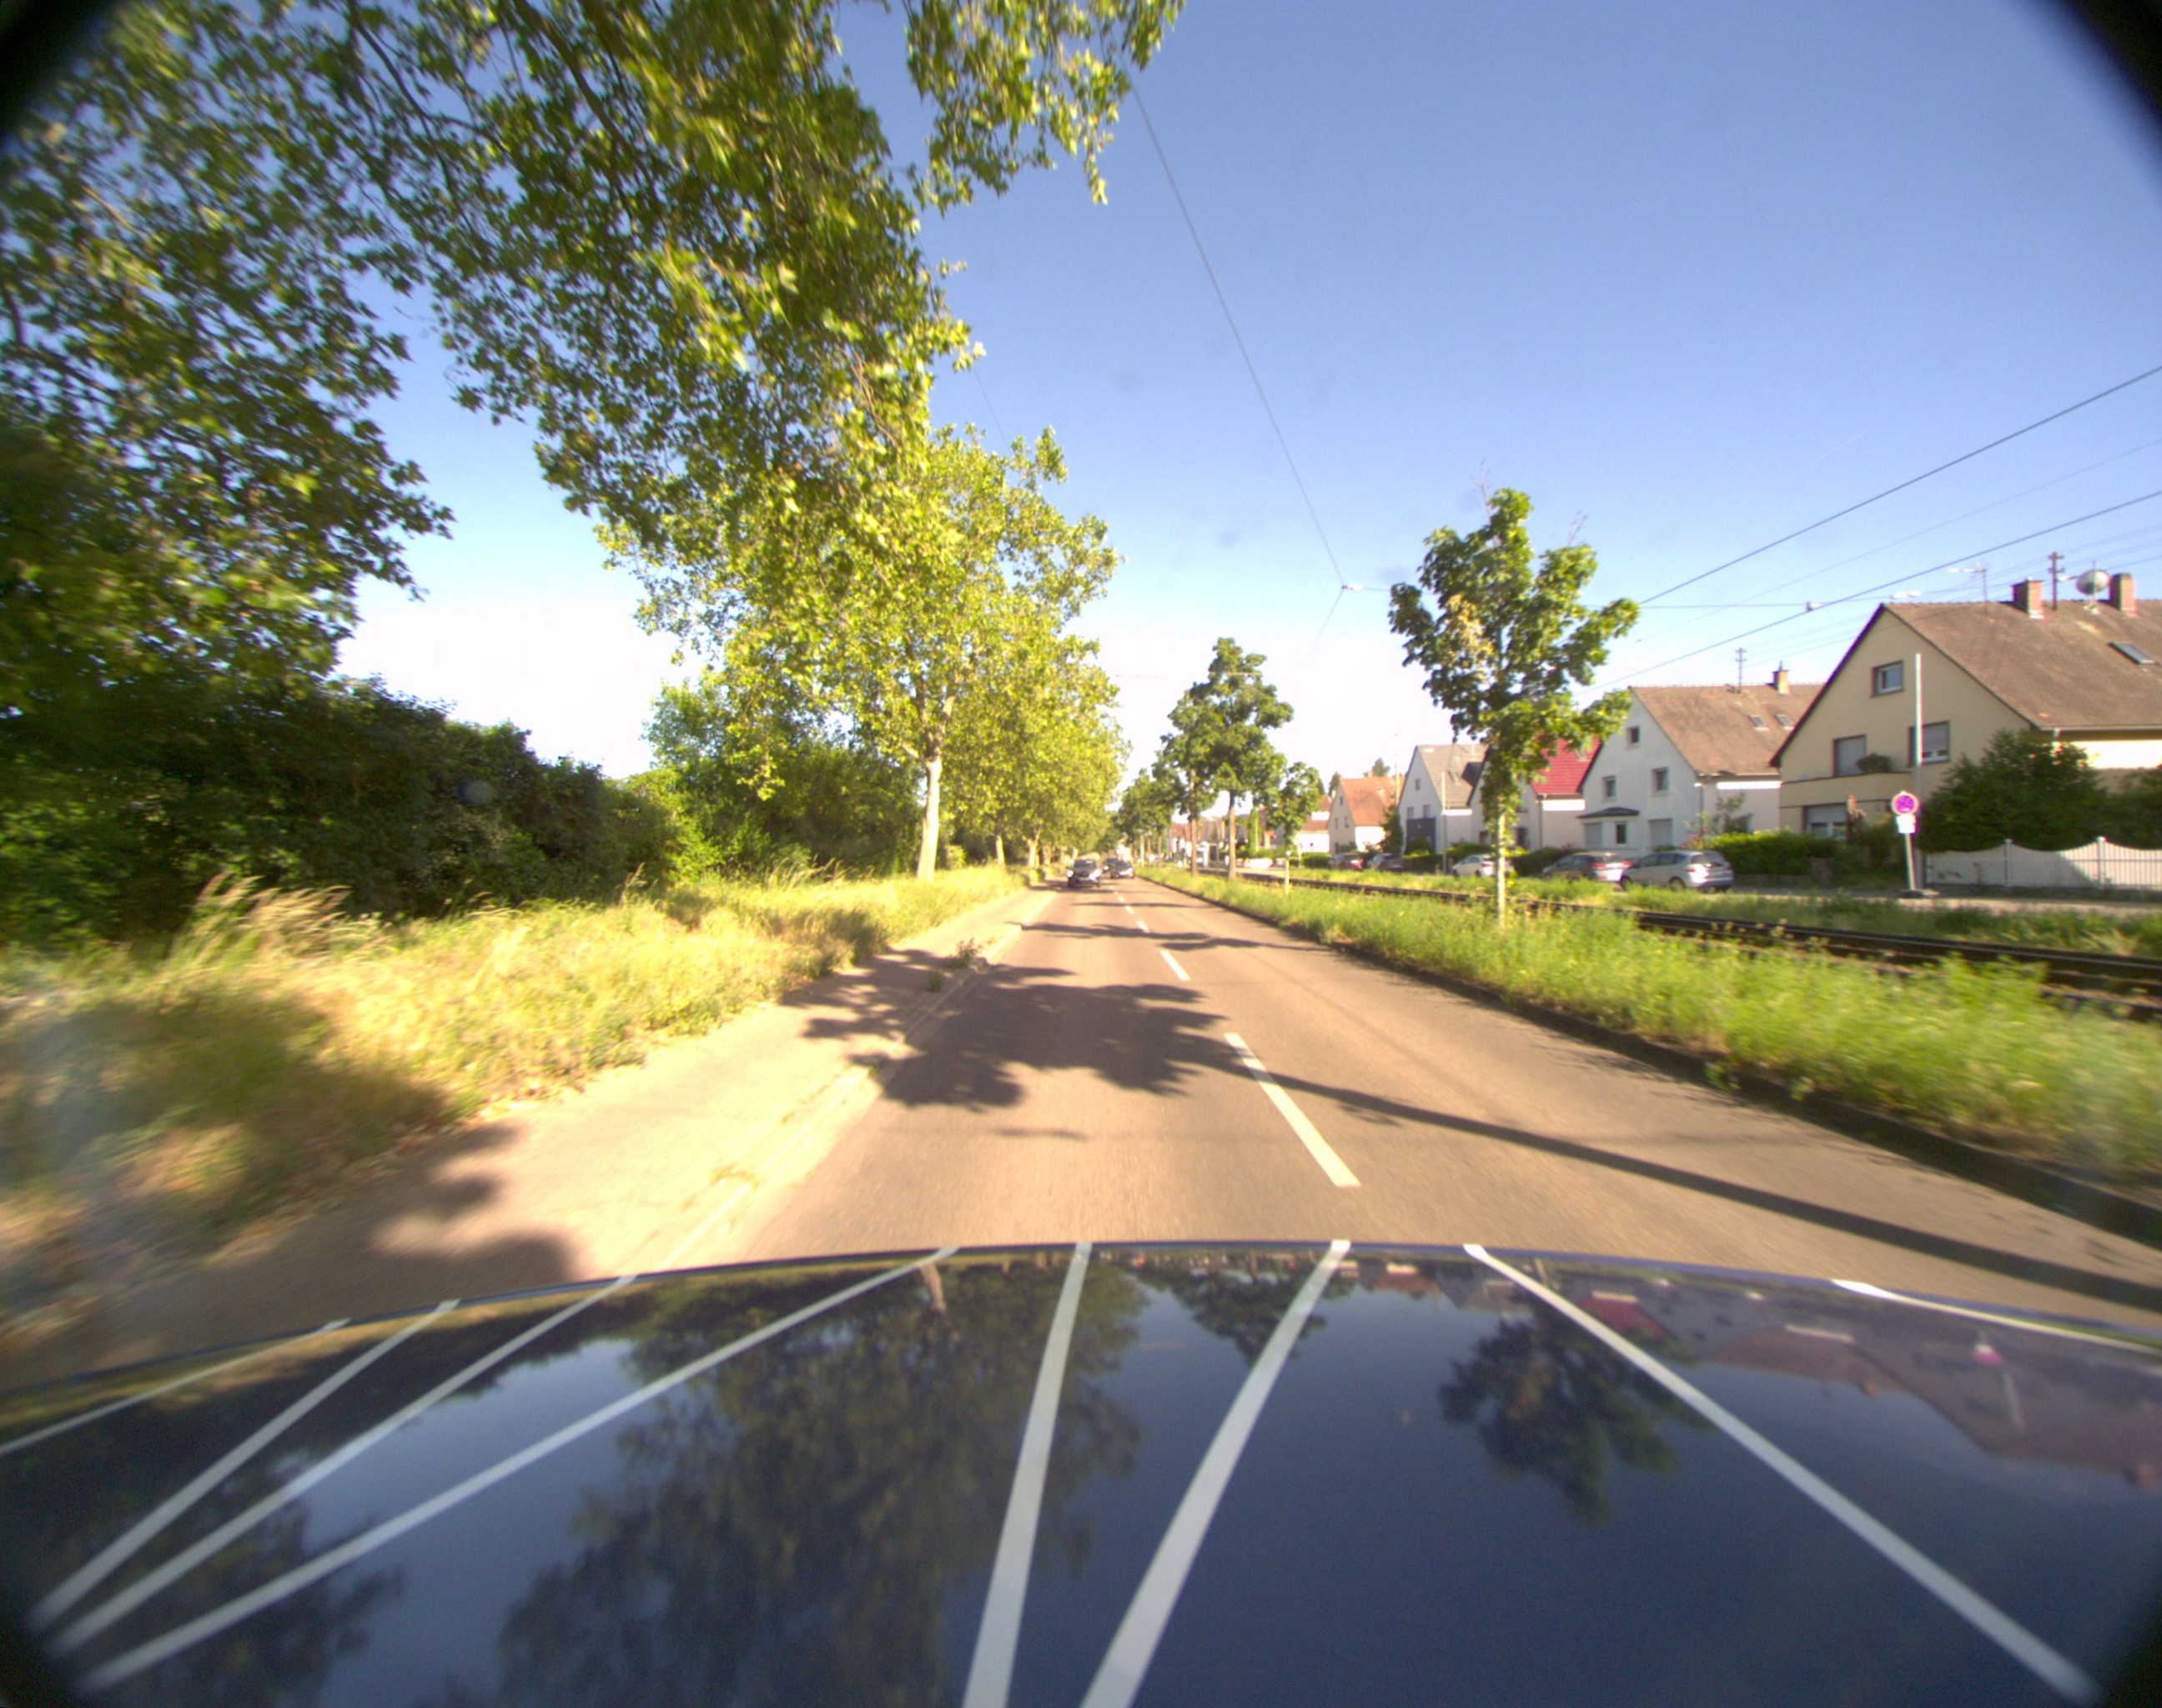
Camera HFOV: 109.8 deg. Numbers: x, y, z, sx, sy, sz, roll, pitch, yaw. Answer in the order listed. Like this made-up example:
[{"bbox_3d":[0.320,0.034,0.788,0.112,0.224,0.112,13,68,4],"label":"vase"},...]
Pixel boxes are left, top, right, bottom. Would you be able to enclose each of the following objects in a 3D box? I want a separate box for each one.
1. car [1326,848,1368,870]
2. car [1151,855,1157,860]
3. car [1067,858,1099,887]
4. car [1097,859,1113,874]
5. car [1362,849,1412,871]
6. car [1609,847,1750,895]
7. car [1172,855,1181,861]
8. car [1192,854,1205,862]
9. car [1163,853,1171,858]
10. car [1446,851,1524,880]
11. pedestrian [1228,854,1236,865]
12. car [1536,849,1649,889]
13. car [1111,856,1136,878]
[{"bbox_3d":[22.428,0.394,64.172,1.998,1.703,4.390,-2,0,1],"label":"car"},{"bbox_3d":[25.158,1.265,261.358,1.791,1.497,4.001,-2,0,4],"label":"car"},{"bbox_3d":[0.127,0.979,42.091,1.692,1.499,3.582,1,0,1],"label":"car"},{"bbox_3d":[2.565,1.318,81.773,1.692,1.499,3.582,-2,0,1],"label":"car"},{"bbox_3d":[22.288,0.426,55.423,1.931,1.486,4.256,-2,0,1],"label":"car"},{"bbox_3d":[21.648,0.561,27.725,1.951,1.544,4.056,-2,0,1],"label":"car"},{"bbox_3d":[24.197,1.060,192.817,1.738,1.481,3.756,-2,0,1],"label":"car"},{"bbox_3d":[23.758,0.807,154.079,1.998,1.668,4.839,-2,0,1],"label":"car"},{"bbox_3d":[23.774,0.498,209.574,1.756,1.373,3.823,-2,0,1],"label":"car"},{"bbox_3d":[21.914,0.587,41.427,1.998,1.418,4.410,-2,0,2],"label":"car"},{"bbox_3d":[22.050,0.769,111.036,0.814,1.525,0.793,-1,-1,-10],"label":"pedestrian"},{"bbox_3d":[21.706,0.602,32.470,1.998,1.441,4.127,-4,0,1],"label":"car"},{"bbox_3d":[3.221,0.963,57.946,1.692,1.499,3.582,-2,0,1],"label":"car"}]
